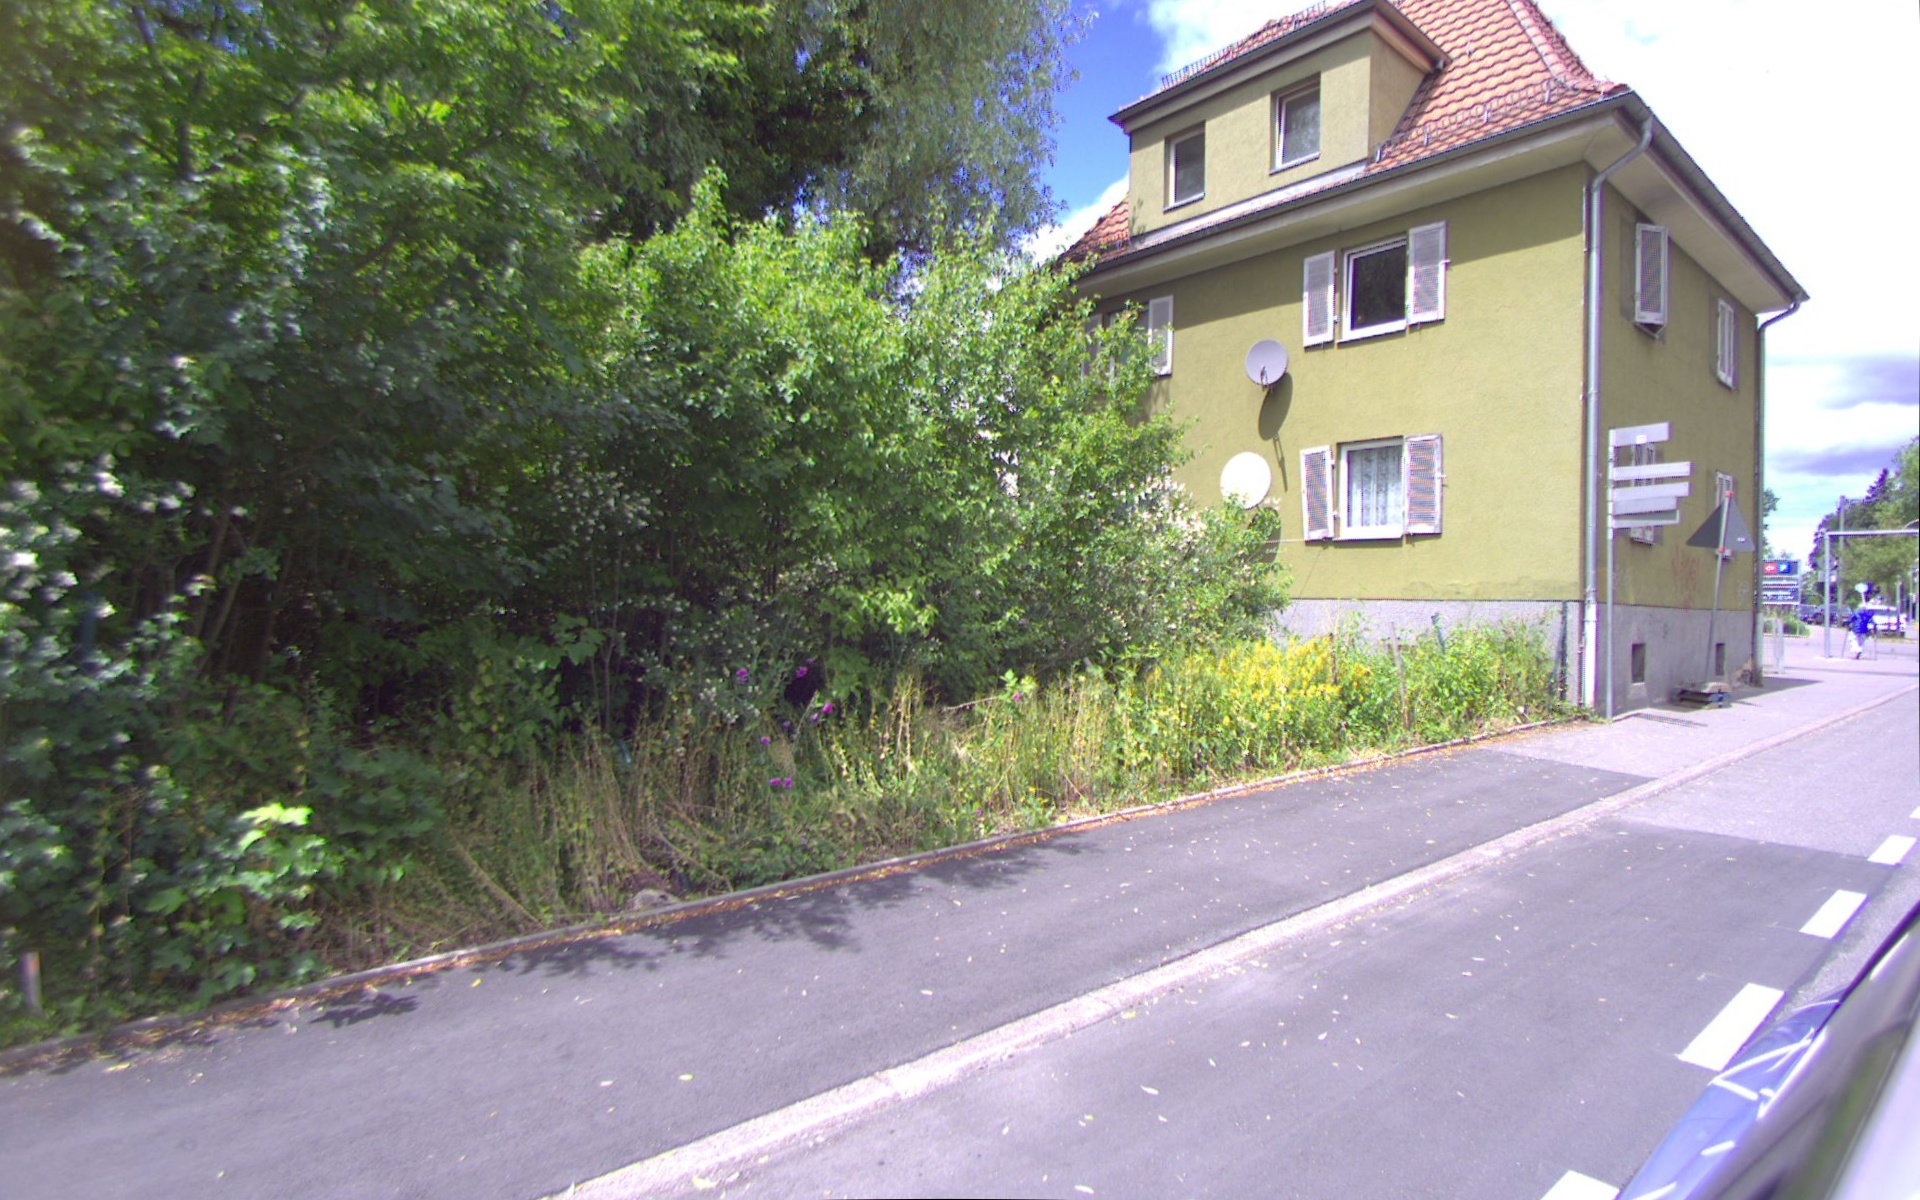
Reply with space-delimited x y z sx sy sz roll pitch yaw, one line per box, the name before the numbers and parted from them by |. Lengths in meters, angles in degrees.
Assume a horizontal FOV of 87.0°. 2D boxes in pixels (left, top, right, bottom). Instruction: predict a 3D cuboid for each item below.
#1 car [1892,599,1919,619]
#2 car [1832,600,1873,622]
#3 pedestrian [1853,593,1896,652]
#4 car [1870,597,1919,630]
car | 72.371 0.678 76.983 1.541 1.445 3.808 -1 -1 34
car | 64.963 0.790 73.694 1.694 1.551 3.951 -1 -1 34
pedestrian | 25.748 0.610 28.489 0.824 1.592 0.972 2 1 45
car | 47.482 0.654 51.331 1.788 1.549 3.864 4 2 40
